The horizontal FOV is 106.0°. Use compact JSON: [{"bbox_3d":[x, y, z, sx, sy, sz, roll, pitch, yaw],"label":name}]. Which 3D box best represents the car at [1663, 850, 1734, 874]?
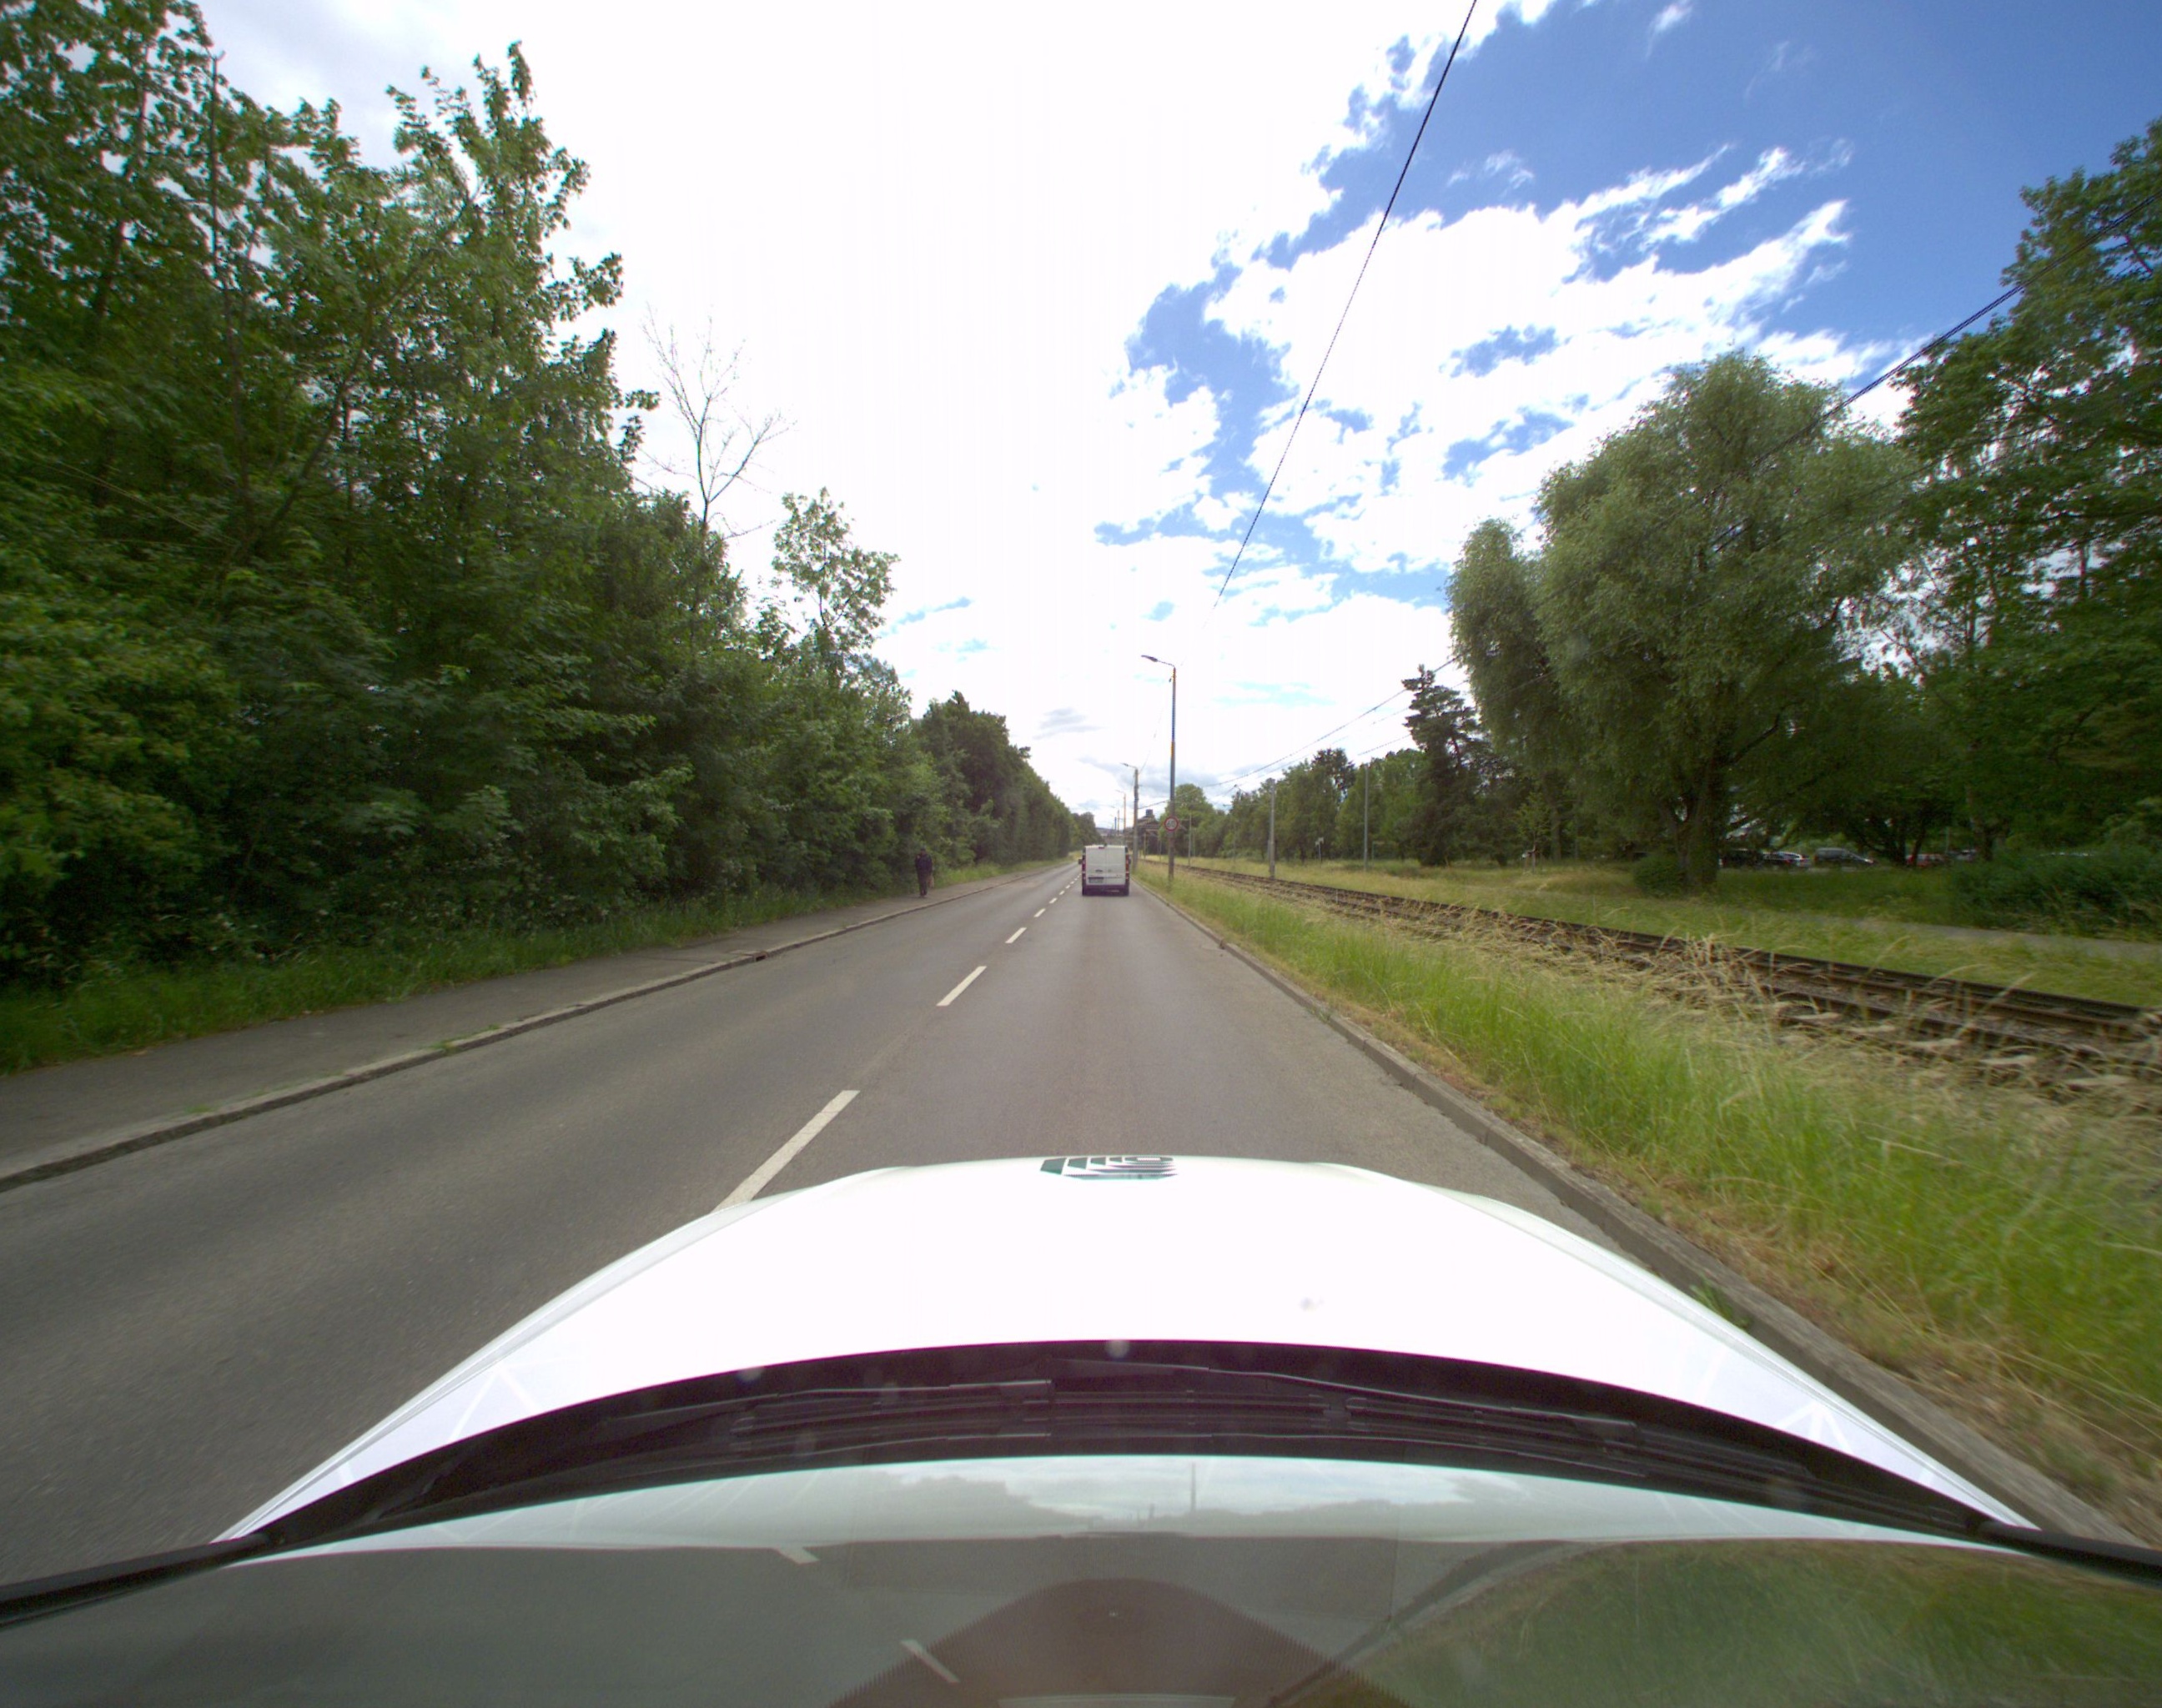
[{"bbox_3d":[48.288,0.603,63.761,2.002,1.812,3.969,1,0,-24],"label":"car"}]

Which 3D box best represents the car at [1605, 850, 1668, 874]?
[{"bbox_3d":[42.843,0.607,62.920,1.744,1.803,3.985,1,0,-11],"label":"car"}]

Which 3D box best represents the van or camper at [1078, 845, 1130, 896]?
[{"bbox_3d":[0.936,0.619,32.971,1.935,1.897,4.286,-1,0,2],"label":"van or camper"}]

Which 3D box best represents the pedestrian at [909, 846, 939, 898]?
[{"bbox_3d":[-5.434,0.600,28.240,0.866,1.769,0.789,-1,0,-2],"label":"pedestrian"}]

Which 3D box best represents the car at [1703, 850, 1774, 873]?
[{"bbox_3d":[53.008,0.608,65.725,2.002,1.812,3.969,1,0,-24],"label":"car"}]

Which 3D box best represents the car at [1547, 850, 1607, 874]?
[{"bbox_3d":[38.184,0.577,62.836,1.744,1.803,3.985,1,0,-11],"label":"car"}]

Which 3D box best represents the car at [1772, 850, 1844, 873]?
[{"bbox_3d":[59.971,0.612,67.240,2.002,1.812,3.969,1,0,-24],"label":"car"}]
